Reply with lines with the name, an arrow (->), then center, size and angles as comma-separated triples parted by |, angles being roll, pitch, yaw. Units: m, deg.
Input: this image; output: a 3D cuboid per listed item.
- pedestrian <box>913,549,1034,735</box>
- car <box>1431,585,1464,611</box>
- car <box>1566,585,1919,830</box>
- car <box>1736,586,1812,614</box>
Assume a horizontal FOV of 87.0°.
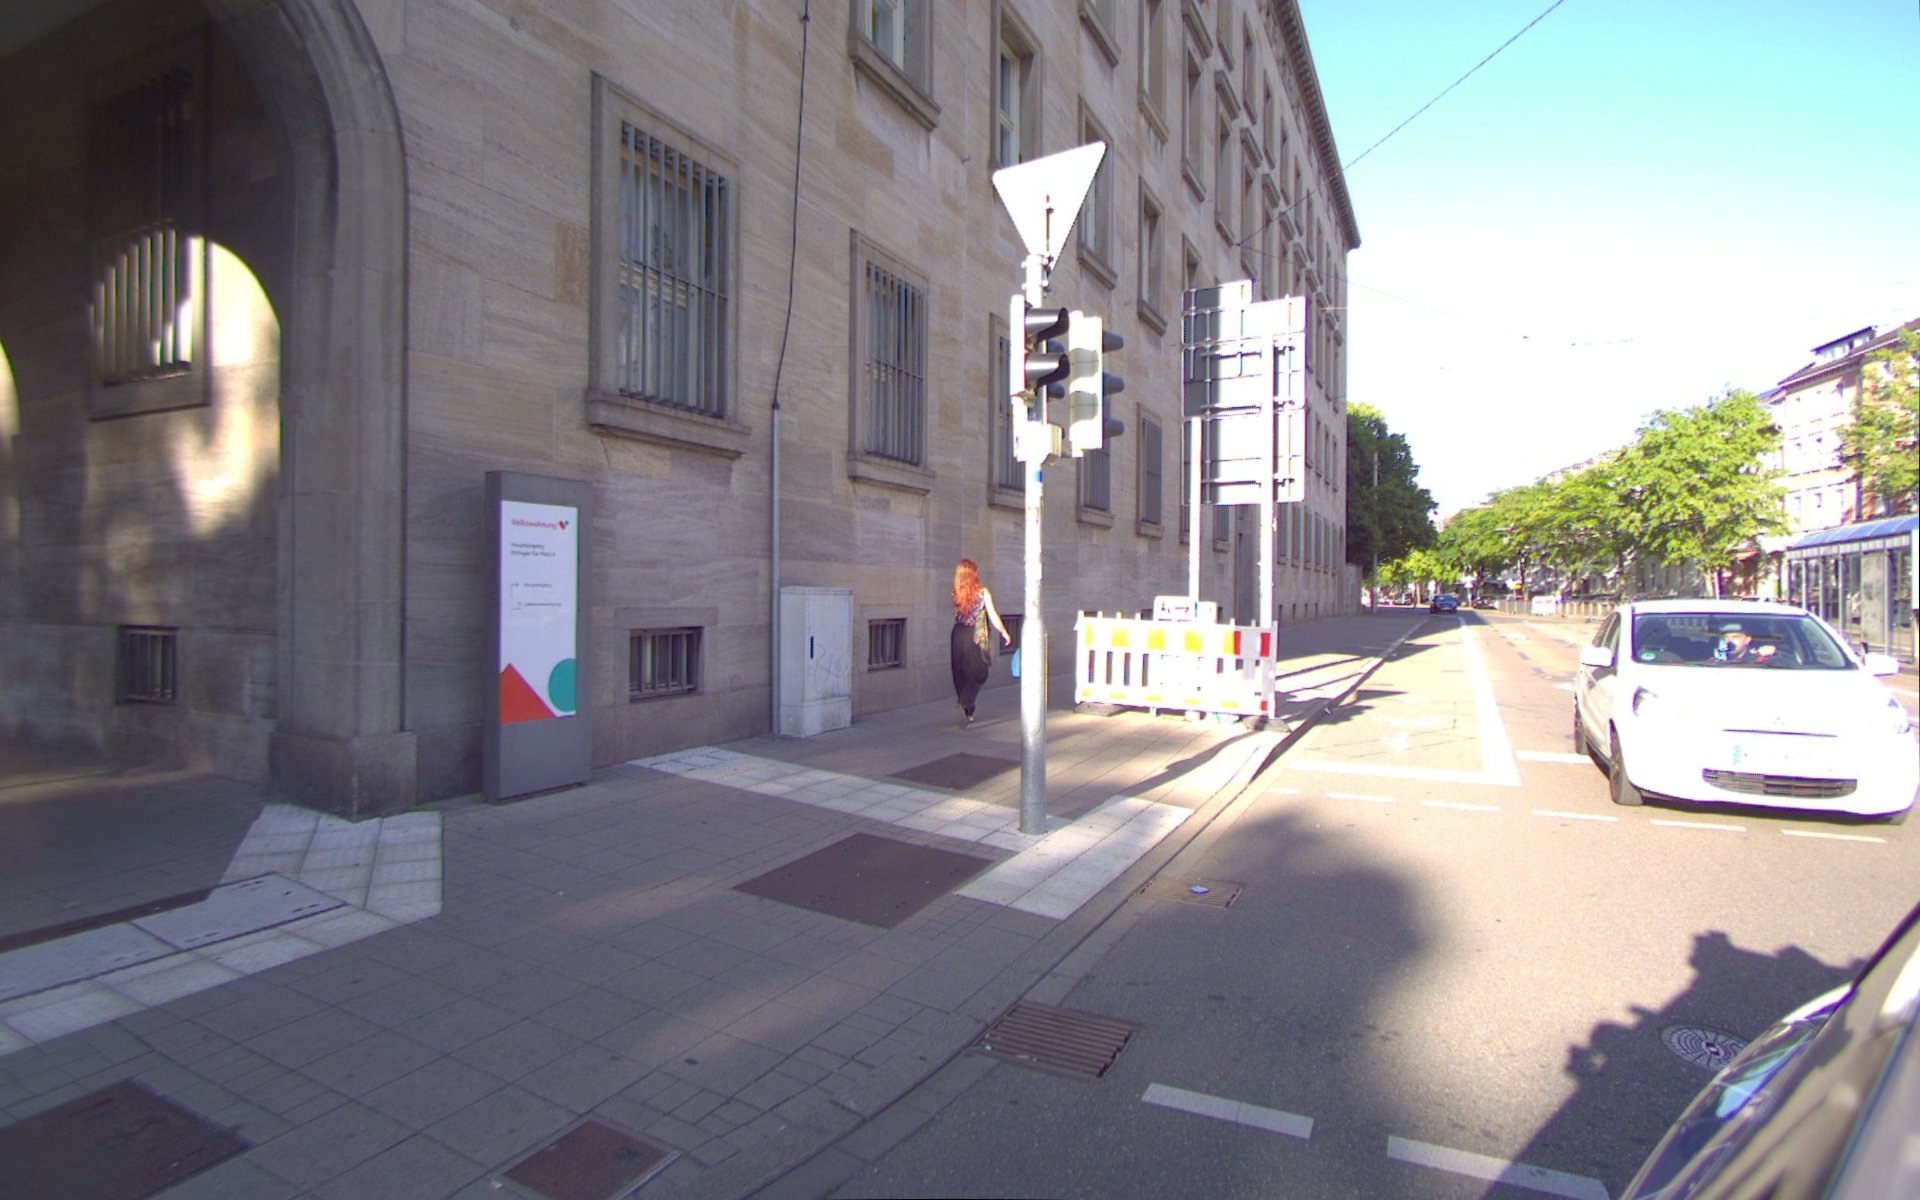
pedestrian -> 0.141, 0.372, 9.749 | 0.731, 1.641, 0.910 | 6, 3, 27
car -> 40.198, -0.172, 83.462 | 1.734, 2.039, 3.690 | 1, 1, 14
car -> 6.066, 0.641, 8.126 | 1.662, 1.482, 3.732 | -1, 0, 25
car -> 50.607, 0.005, 62.953 | 3.916, 1.605, 1.744 | -1, 0, -17
